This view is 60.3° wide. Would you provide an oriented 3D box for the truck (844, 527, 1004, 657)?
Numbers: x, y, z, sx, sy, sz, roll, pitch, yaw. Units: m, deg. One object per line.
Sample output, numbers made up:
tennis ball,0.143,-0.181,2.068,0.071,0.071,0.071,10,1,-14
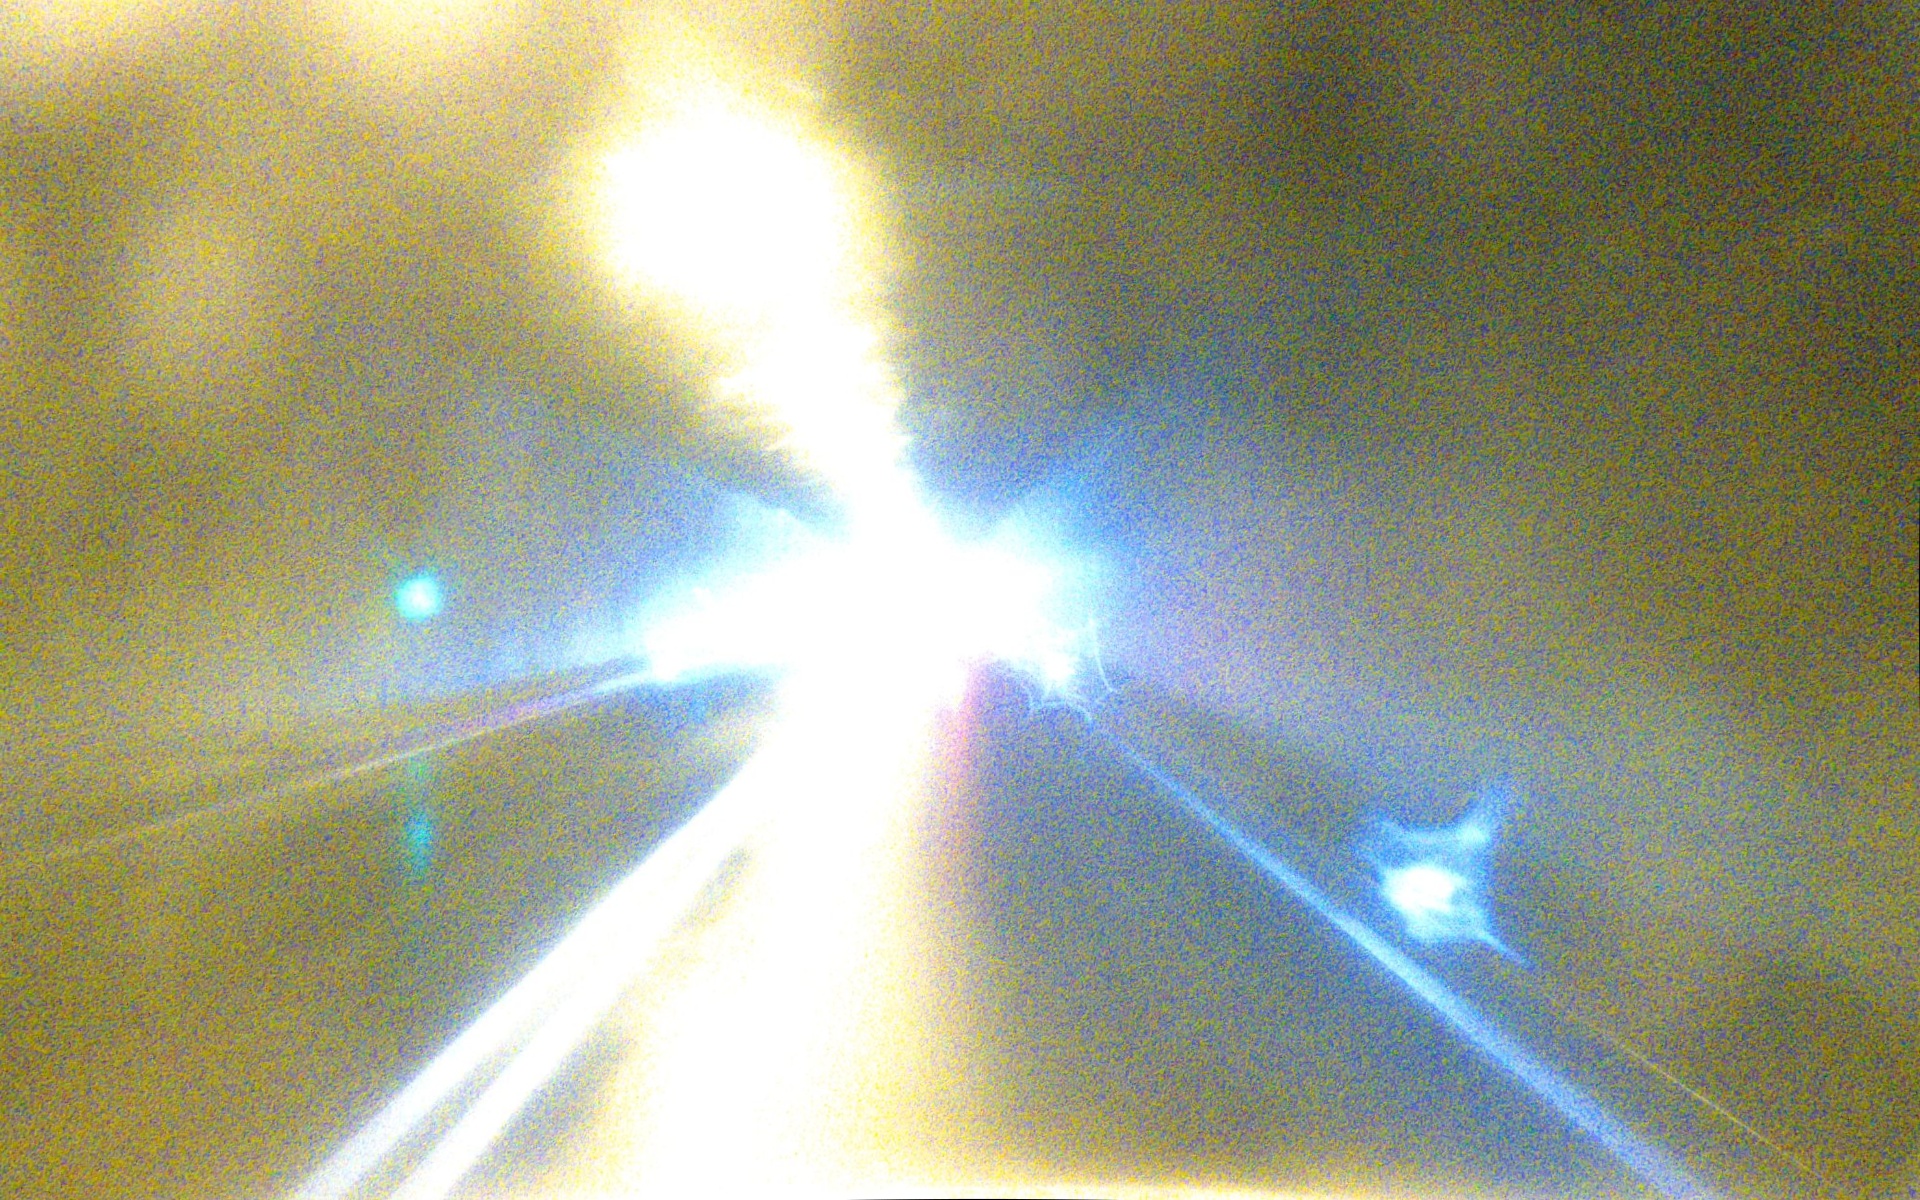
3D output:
truck,-0.845,-0.206,41.502,3.463,2.740,8.955,-3,0,-1
